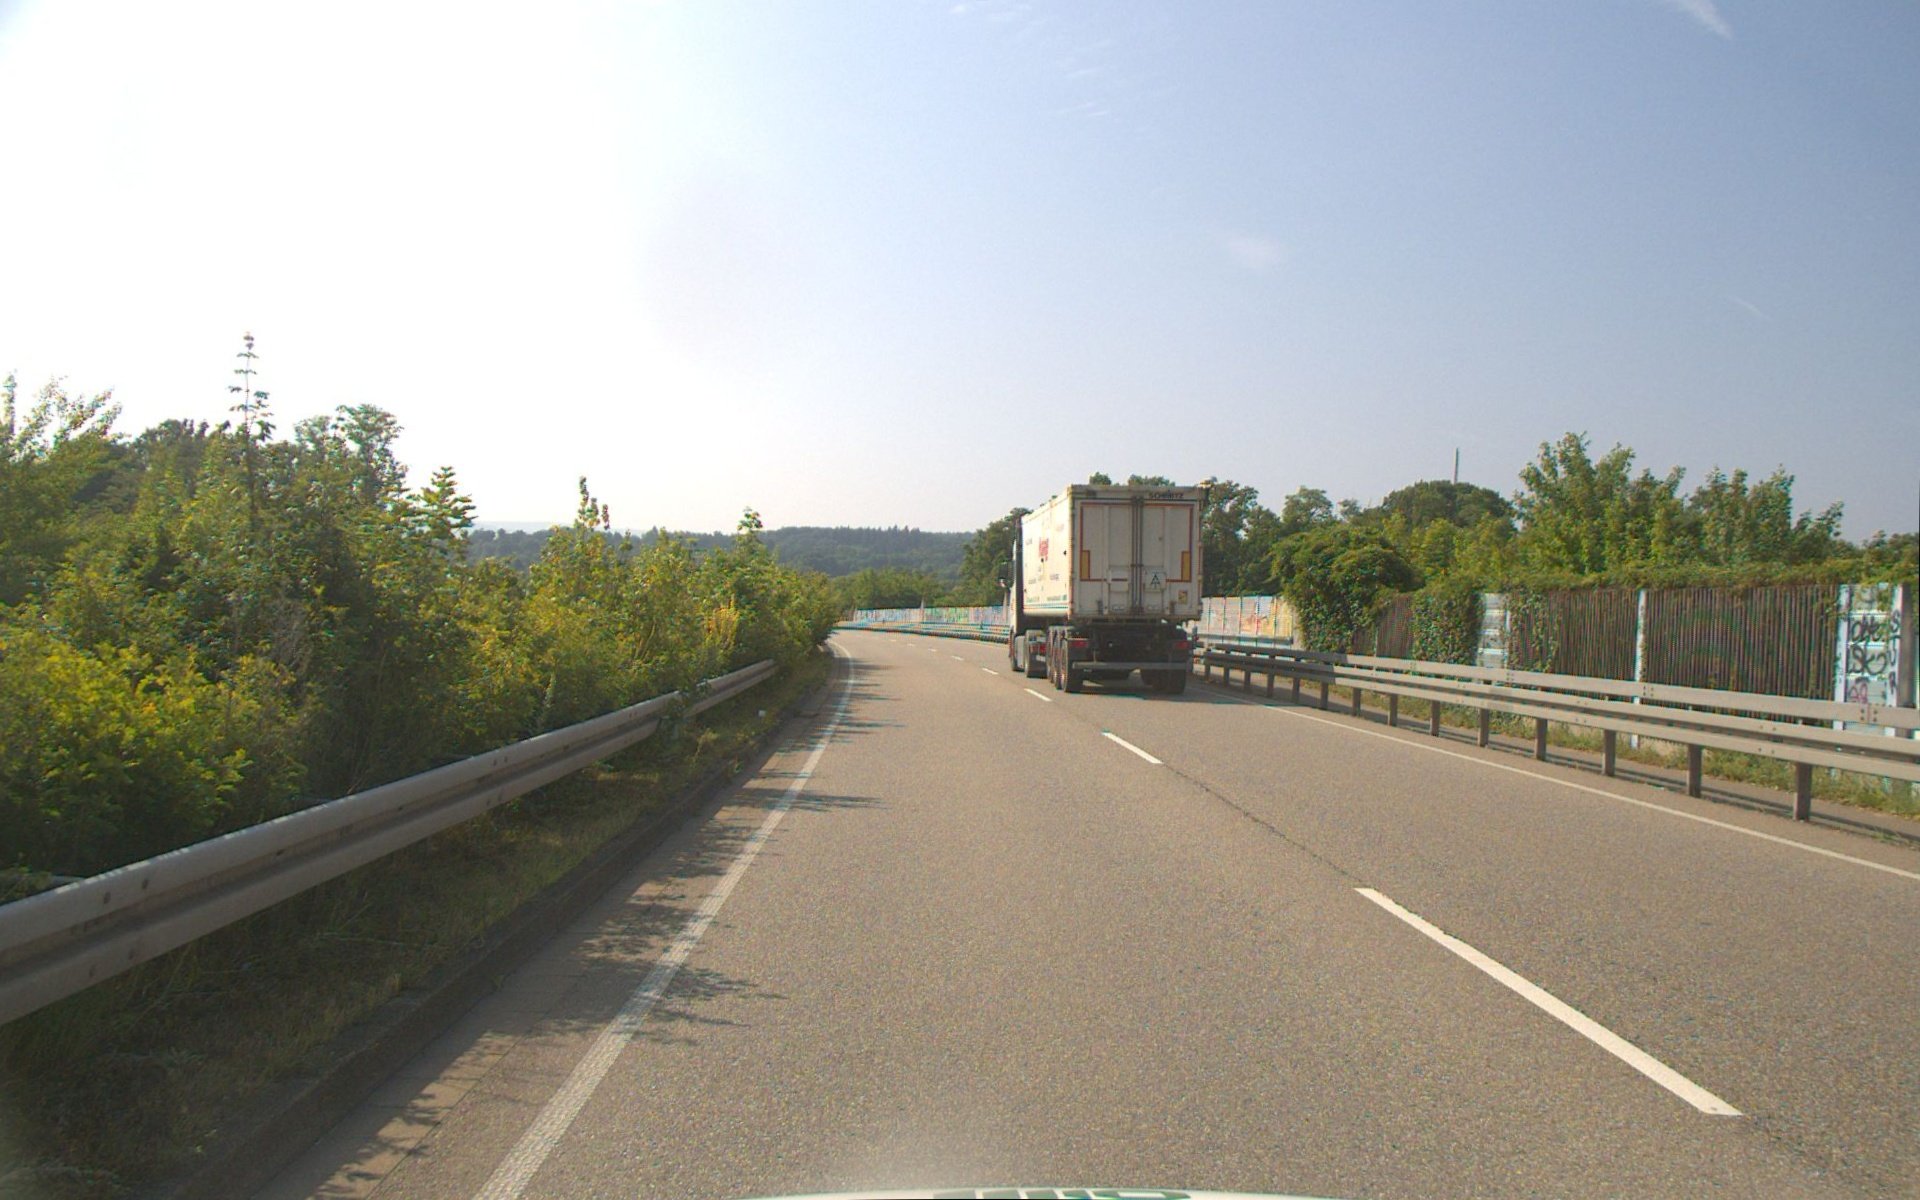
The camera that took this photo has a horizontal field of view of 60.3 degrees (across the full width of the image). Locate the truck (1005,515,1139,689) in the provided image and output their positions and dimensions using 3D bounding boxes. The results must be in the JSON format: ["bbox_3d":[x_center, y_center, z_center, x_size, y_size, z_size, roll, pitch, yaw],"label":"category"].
[{"bbox_3d":[2.685,0.076,41.167,2.605,3.964,5.644,2,-1,-3],"label":"truck"}]

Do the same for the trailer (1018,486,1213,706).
[{"bbox_3d":[3.025,-0.002,35.152,2.626,3.976,9.665,1,-1,-3],"label":"trailer"}]
